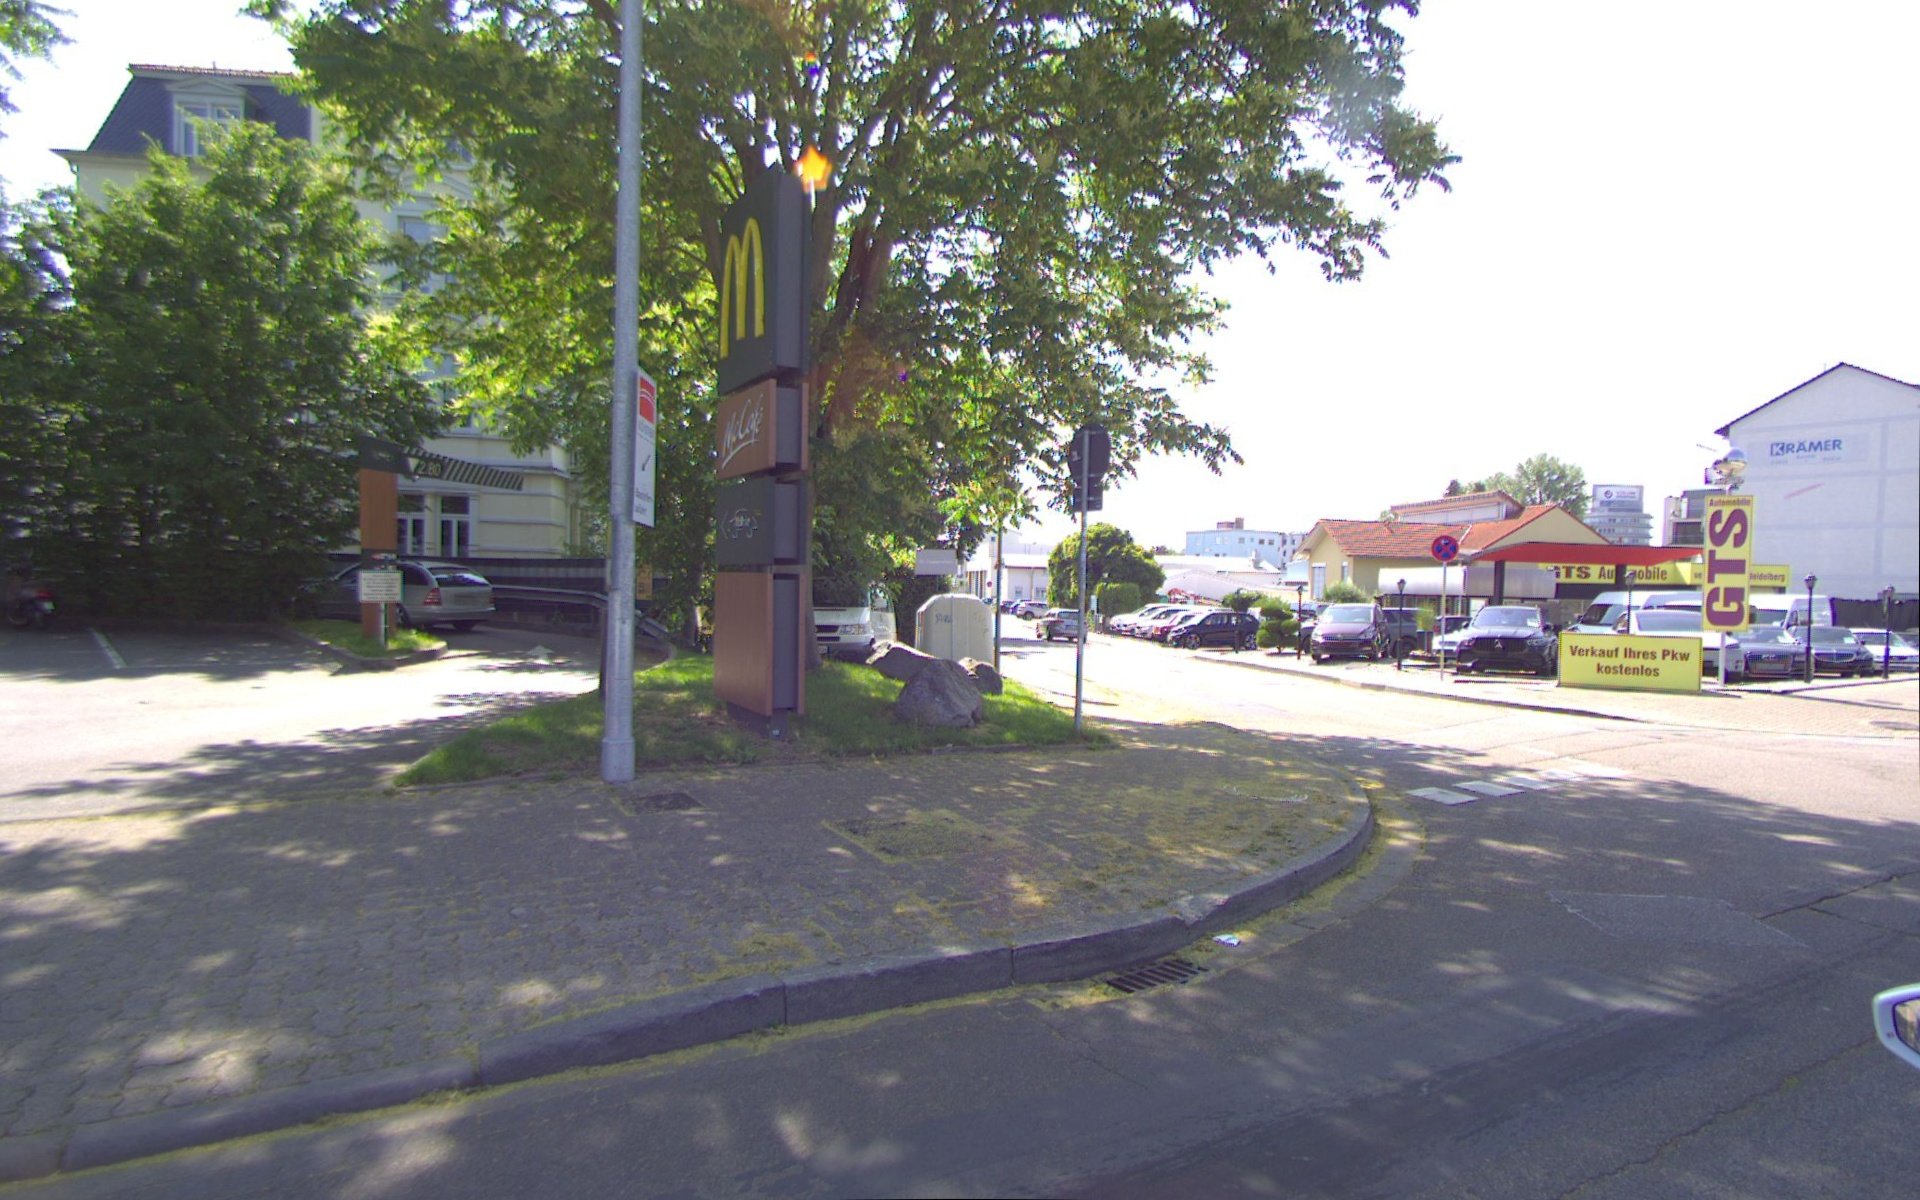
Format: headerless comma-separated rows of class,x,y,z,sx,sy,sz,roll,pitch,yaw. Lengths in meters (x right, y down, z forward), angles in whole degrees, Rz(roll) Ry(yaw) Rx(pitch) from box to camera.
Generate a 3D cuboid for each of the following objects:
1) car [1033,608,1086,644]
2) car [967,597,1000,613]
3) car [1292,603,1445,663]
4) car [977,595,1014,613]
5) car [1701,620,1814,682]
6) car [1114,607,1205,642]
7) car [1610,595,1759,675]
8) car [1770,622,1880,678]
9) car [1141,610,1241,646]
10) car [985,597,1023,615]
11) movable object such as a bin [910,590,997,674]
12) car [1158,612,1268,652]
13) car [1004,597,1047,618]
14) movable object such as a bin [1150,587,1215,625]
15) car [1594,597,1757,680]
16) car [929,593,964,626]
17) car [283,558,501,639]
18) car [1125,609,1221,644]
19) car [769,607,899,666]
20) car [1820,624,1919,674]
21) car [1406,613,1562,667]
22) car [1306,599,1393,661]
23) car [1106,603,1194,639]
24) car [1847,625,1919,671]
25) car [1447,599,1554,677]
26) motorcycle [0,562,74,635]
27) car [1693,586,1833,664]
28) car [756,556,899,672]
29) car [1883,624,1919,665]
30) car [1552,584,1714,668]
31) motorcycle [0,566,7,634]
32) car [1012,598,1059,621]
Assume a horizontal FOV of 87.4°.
car,4.567,1.181,46.578,1.650,1.513,4.603,1,0,-4
car,2.894,0.607,124.205,3.800,1.787,1.822,2,0,-5
car,14.304,1.120,35.495,4.795,1.867,2.163,1,0,18
car,3.902,0.478,110.578,3.768,1.787,1.781,2,0,-5
car,20.545,1.275,26.030,1.810,1.492,3.991,-1,-2,32
car,9.919,1.225,50.190,4.050,1.624,1.867,2,0,-8
car,23.673,1.149,32.793,4.769,2.381,2.234,3,-1,-31
car,24.978,1.406,29.148,1.810,1.492,3.991,-1,-2,32
car,10.369,1.258,45.283,3.984,1.509,1.796,2,0,-8
car,4.590,0.633,105.324,3.768,1.787,1.781,2,0,-5
movable object such as a bin,-0.158,0.616,19.807,1.429,1.546,1.773,-1,-1,-9
car,10.606,1.331,42.194,4.057,1.509,1.867,2,0,-8
car,6.077,0.681,93.535,3.768,1.787,1.781,2,0,-5
movable object such as a bin,18.003,0.495,81.331,4.740,2.945,1.999,2,0,-3
car,16.513,0.940,23.476,1.943,1.729,4.665,0,-3,21
car,-0.928,0.638,66.362,2.002,2.084,3.997,1,-1,-5
car,-11.612,-0.097,20.520,4.304,1.423,1.712,2,3,25
car,10.056,1.239,47.592,4.044,1.509,1.867,2,0,-8
car,-3.379,0.964,27.333,3.340,1.485,1.693,-1,0,-2
car,29.352,1.544,32.323,1.754,1.492,3.993,-1,-2,29
car,16.901,1.291,32.384,4.618,1.596,1.905,1,0,-22
car,11.574,0.857,29.670,1.778,1.678,4.307,0,-1,30
car,9.937,1.090,52.733,4.095,1.773,1.889,2,0,-8
car,32.670,1.633,34.906,1.641,1.492,3.997,-1,-2,24
car,13.451,0.940,24.863,2.014,1.729,4.305,1,-2,33
motorcycle,-16.066,-0.045,17.420,2.147,1.147,0.568,4,2,35
car,28.974,0.932,36.183,5.661,2.462,2.231,3,3,-34
car,-2.395,0.338,19.331,1.854,1.945,4.528,-1,-2,4
car,36.317,1.654,37.531,1.641,1.492,3.995,-1,-2,27
car,24.449,0.966,36.450,6.076,2.794,2.267,2,0,-28
motorcycle,-16.946,-0.049,17.137,2.147,1.131,0.568,4,2,35
car,6.542,0.841,87.680,3.768,1.787,1.854,2,0,-5
